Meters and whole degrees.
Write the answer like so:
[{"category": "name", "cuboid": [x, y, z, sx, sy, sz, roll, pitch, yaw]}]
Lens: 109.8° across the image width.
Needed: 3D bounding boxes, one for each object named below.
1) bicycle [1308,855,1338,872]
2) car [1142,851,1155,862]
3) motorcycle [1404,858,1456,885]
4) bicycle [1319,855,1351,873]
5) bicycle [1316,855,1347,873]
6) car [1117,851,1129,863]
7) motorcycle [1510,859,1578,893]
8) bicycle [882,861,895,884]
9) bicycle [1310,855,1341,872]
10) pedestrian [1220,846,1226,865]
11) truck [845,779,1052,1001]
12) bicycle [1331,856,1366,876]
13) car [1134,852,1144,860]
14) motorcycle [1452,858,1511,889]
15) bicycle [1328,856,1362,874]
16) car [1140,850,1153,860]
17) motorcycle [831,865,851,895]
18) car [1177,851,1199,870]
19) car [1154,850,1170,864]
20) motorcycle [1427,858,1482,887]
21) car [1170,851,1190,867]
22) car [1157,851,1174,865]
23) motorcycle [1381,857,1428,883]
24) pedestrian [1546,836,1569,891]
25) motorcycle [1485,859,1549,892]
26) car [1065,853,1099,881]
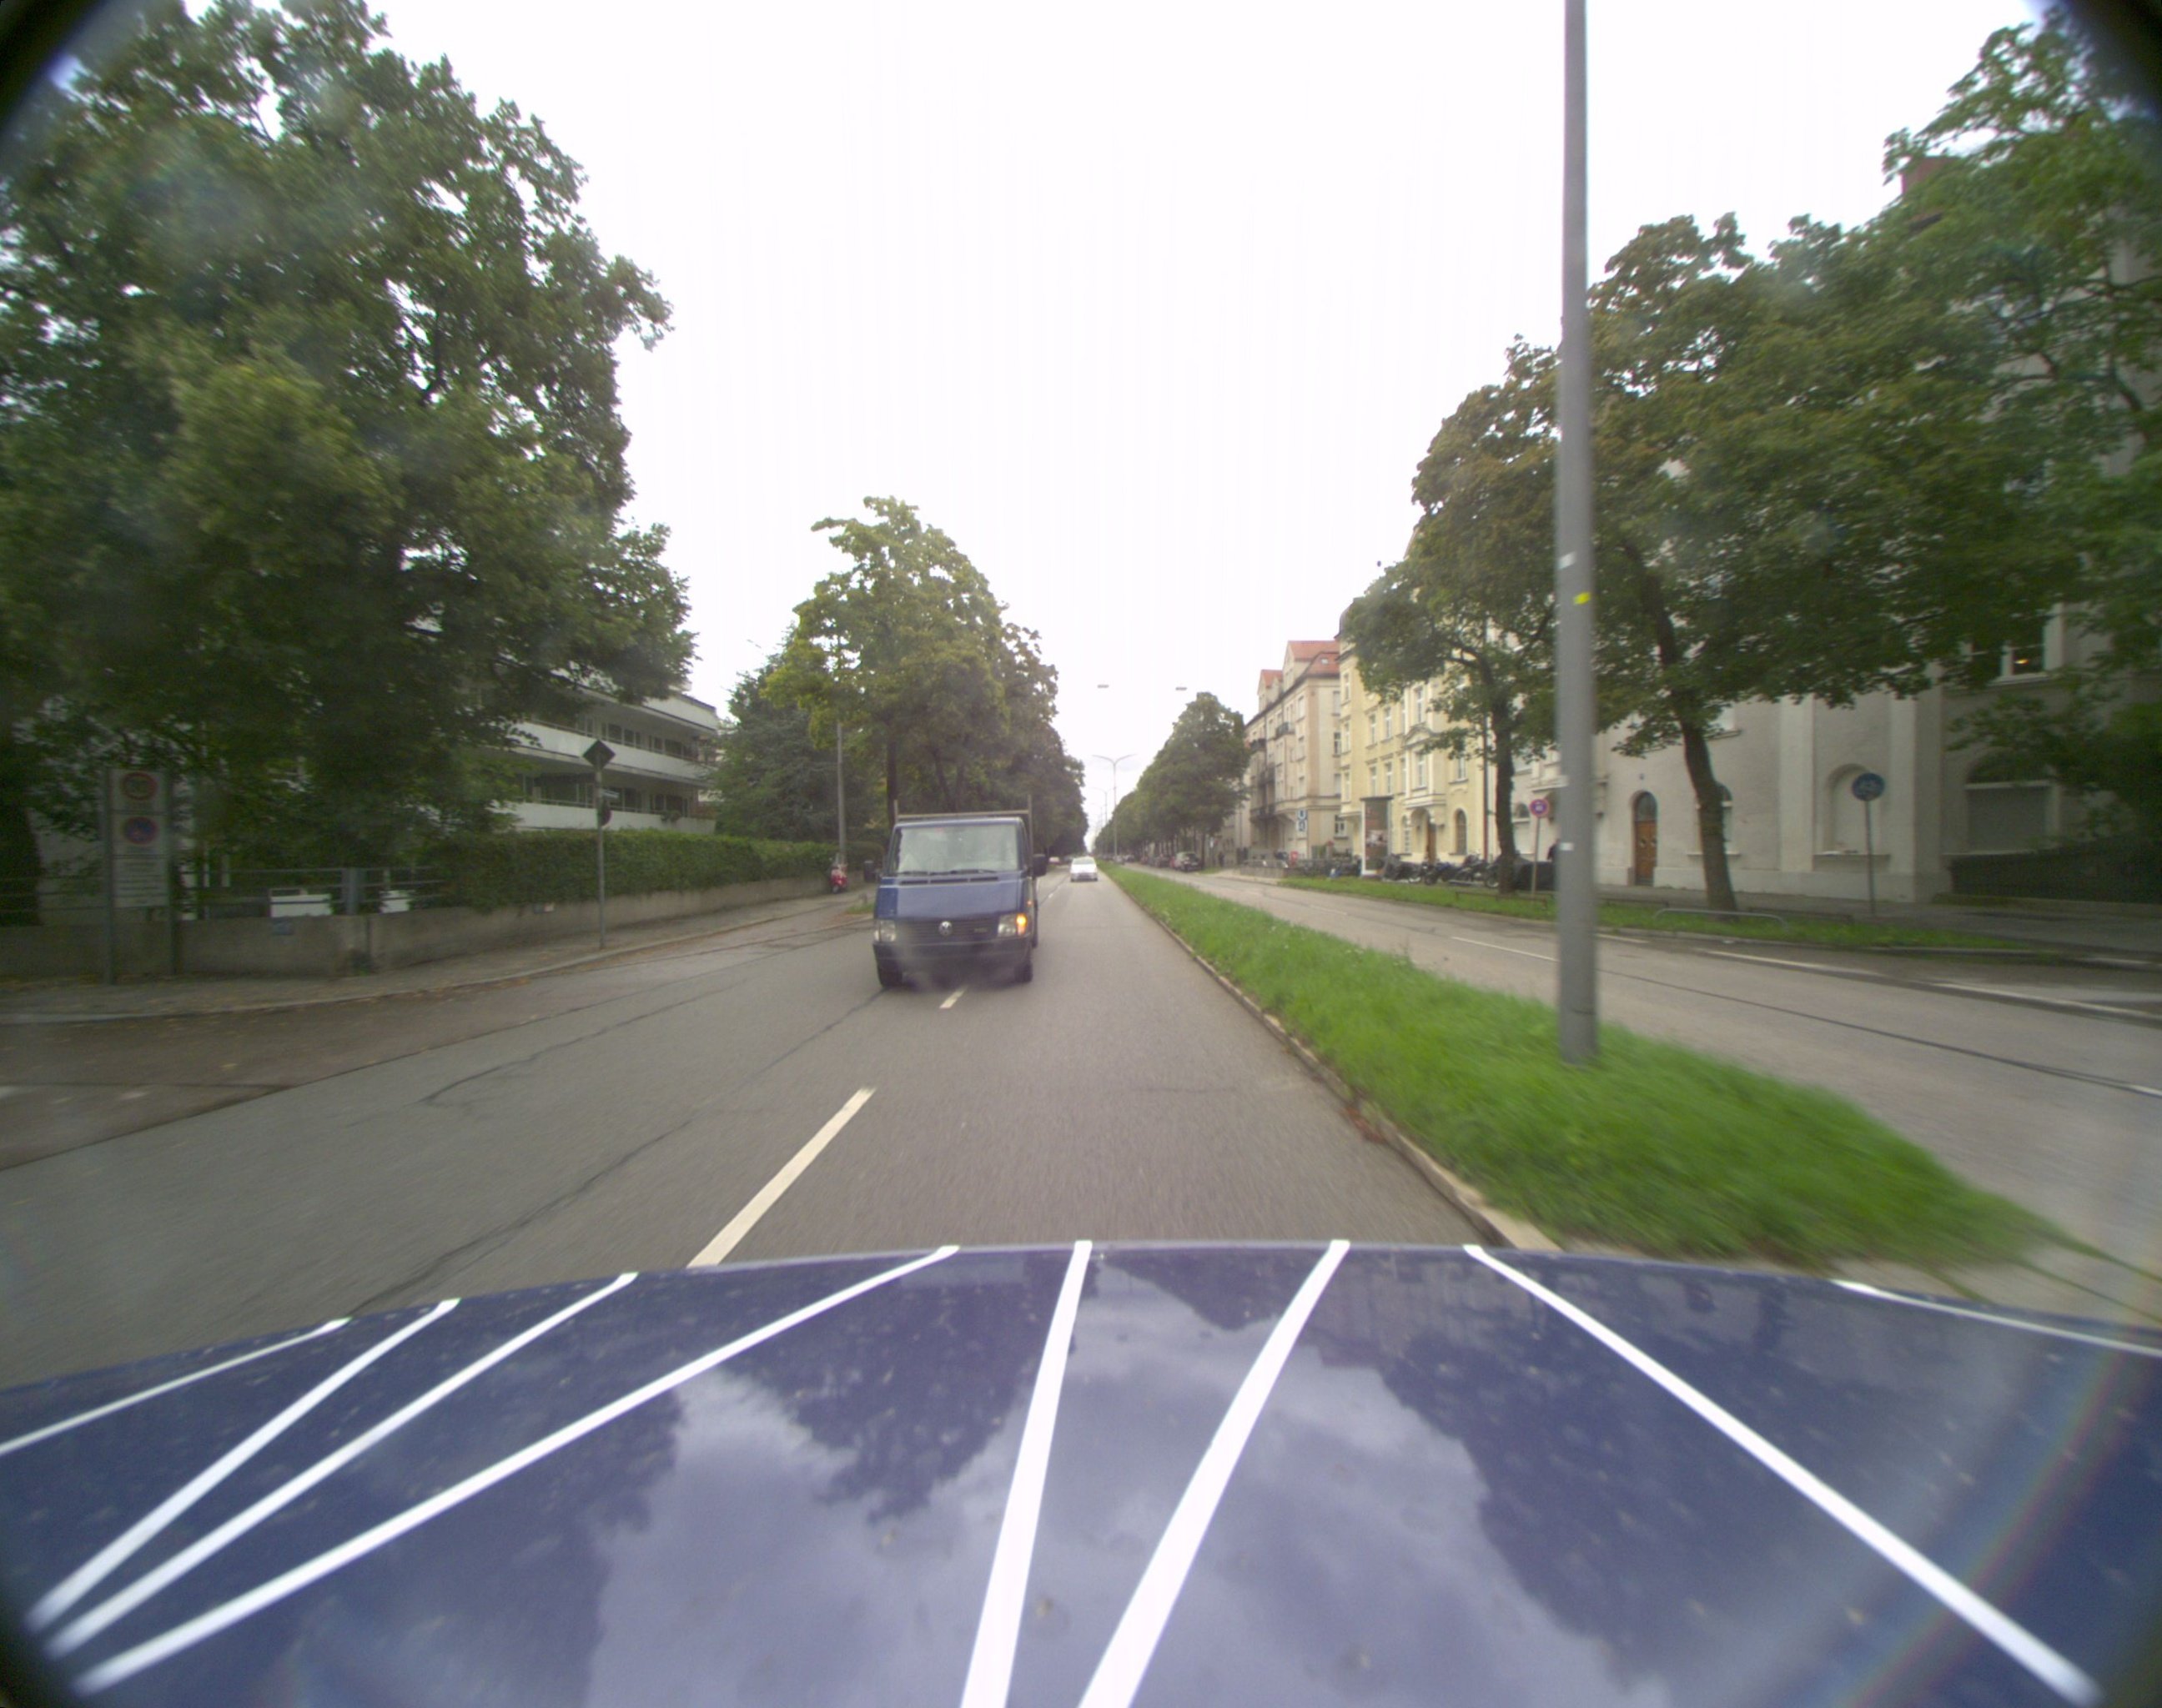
[{"category": "bicycle", "cuboid": [16.774, 0.644, 52.729, 1.954, 1.143, 0.597, -1, 1, 21]}, {"category": "car", "cuboid": [11.317, 0.421, 128.341, 1.872, 1.827, 4.000, -1, 0, 1]}, {"category": "motorcycle", "cuboid": [14.978, 0.745, 32.617, 1.953, 1.143, 0.597, -1, 1, 38]}, {"category": "bicycle", "cuboid": [16.740, 0.668, 50.105, 1.954, 1.143, 0.597, -1, 1, 21]}, {"category": "bicycle", "cuboid": [16.775, 0.664, 50.850, 1.954, 1.143, 0.597, -1, 1, 21]}, {"category": "car", "cuboid": [6.777, 0.465, 123.843, 1.814, 1.761, 4.000, -1, 0, 1]}, {"category": "motorcycle", "cuboid": [15.978, 0.751, 26.242, 1.953, 1.143, 0.597, -1, 1, 38]}, {"category": "bicycle", "cuboid": [-9.669, 0.905, 38.243, 0.490, 1.092, 1.631, -1, 0, -9]}, {"category": "bicycle", "cuboid": [16.666, 0.656, 51.775, 1.954, 1.143, 0.597, -1, 1, 21]}, {"category": "pedestrian", "cuboid": [15.598, 0.167, 83.489, 0.641, 2.031, 0.738, -1, 1, 12]}, {"category": "truck", "cuboid": [-1.582, 0.403, 11.103, 1.998, 2.475, 5.151, -1, 0, 1]}, {"category": "bicycle", "cuboid": [16.265, 0.735, 46.183, 1.954, 1.143, 0.597, -1, 1, 21]}, {"category": "car", "cuboid": [12.634, 0.424, 166.067, 1.872, 1.827, 4.000, -1, 0, 1]}, {"category": "motorcycle", "cuboid": [15.603, 0.757, 29.615, 1.953, 1.143, 0.597, -1, 1, 38]}, {"category": "bicycle", "cuboid": [16.561, 0.699, 47.690, 1.954, 1.143, 0.597, -1, 1, 21]}, {"category": "car", "cuboid": [11.524, 0.166, 133.397, 1.872, 1.827, 4.000, -1, 0, 1]}, {"category": "motorcycle", "cuboid": [-9.688, 1.048, 30.715, 0.497, 1.135, 1.631, -1, 0, -9]}, {"category": "car", "cuboid": [11.411, 0.682, 81.262, 1.790, 2.002, 4.000, -1, 0, 1]}, {"category": "car", "cuboid": [11.653, 0.424, 109.788, 1.872, 1.827, 4.000, -1, 0, 1]}, {"category": "motorcycle", "cuboid": [15.311, 0.756, 31.163, 1.953, 1.143, 0.597, -1, 1, 38]}, {"category": "car", "cuboid": [11.781, 0.621, 90.249, 1.872, 1.827, 4.000, -1, 0, 1]}, {"category": "car", "cuboid": [11.193, 0.531, 100.976, 1.872, 1.827, 4.000, -1, 0, 1]}, {"category": "motorcycle", "cuboid": [14.741, 0.741, 34.659, 1.954, 1.143, 0.597, -1, 1, 21]}, {"category": "pedestrian", "cuboid": [17.986, 0.368, 28.676, 0.599, 2.048, 0.685, -1, 1, 20]}, {"category": "motorcycle", "cuboid": [15.914, 0.766, 27.735, 1.953, 1.143, 0.597, -1, 1, 38]}, {"category": "car", "cuboid": [0.064, 0.759, 46.864, 1.946, 1.642, 4.000, -1, 0, 0]}]
